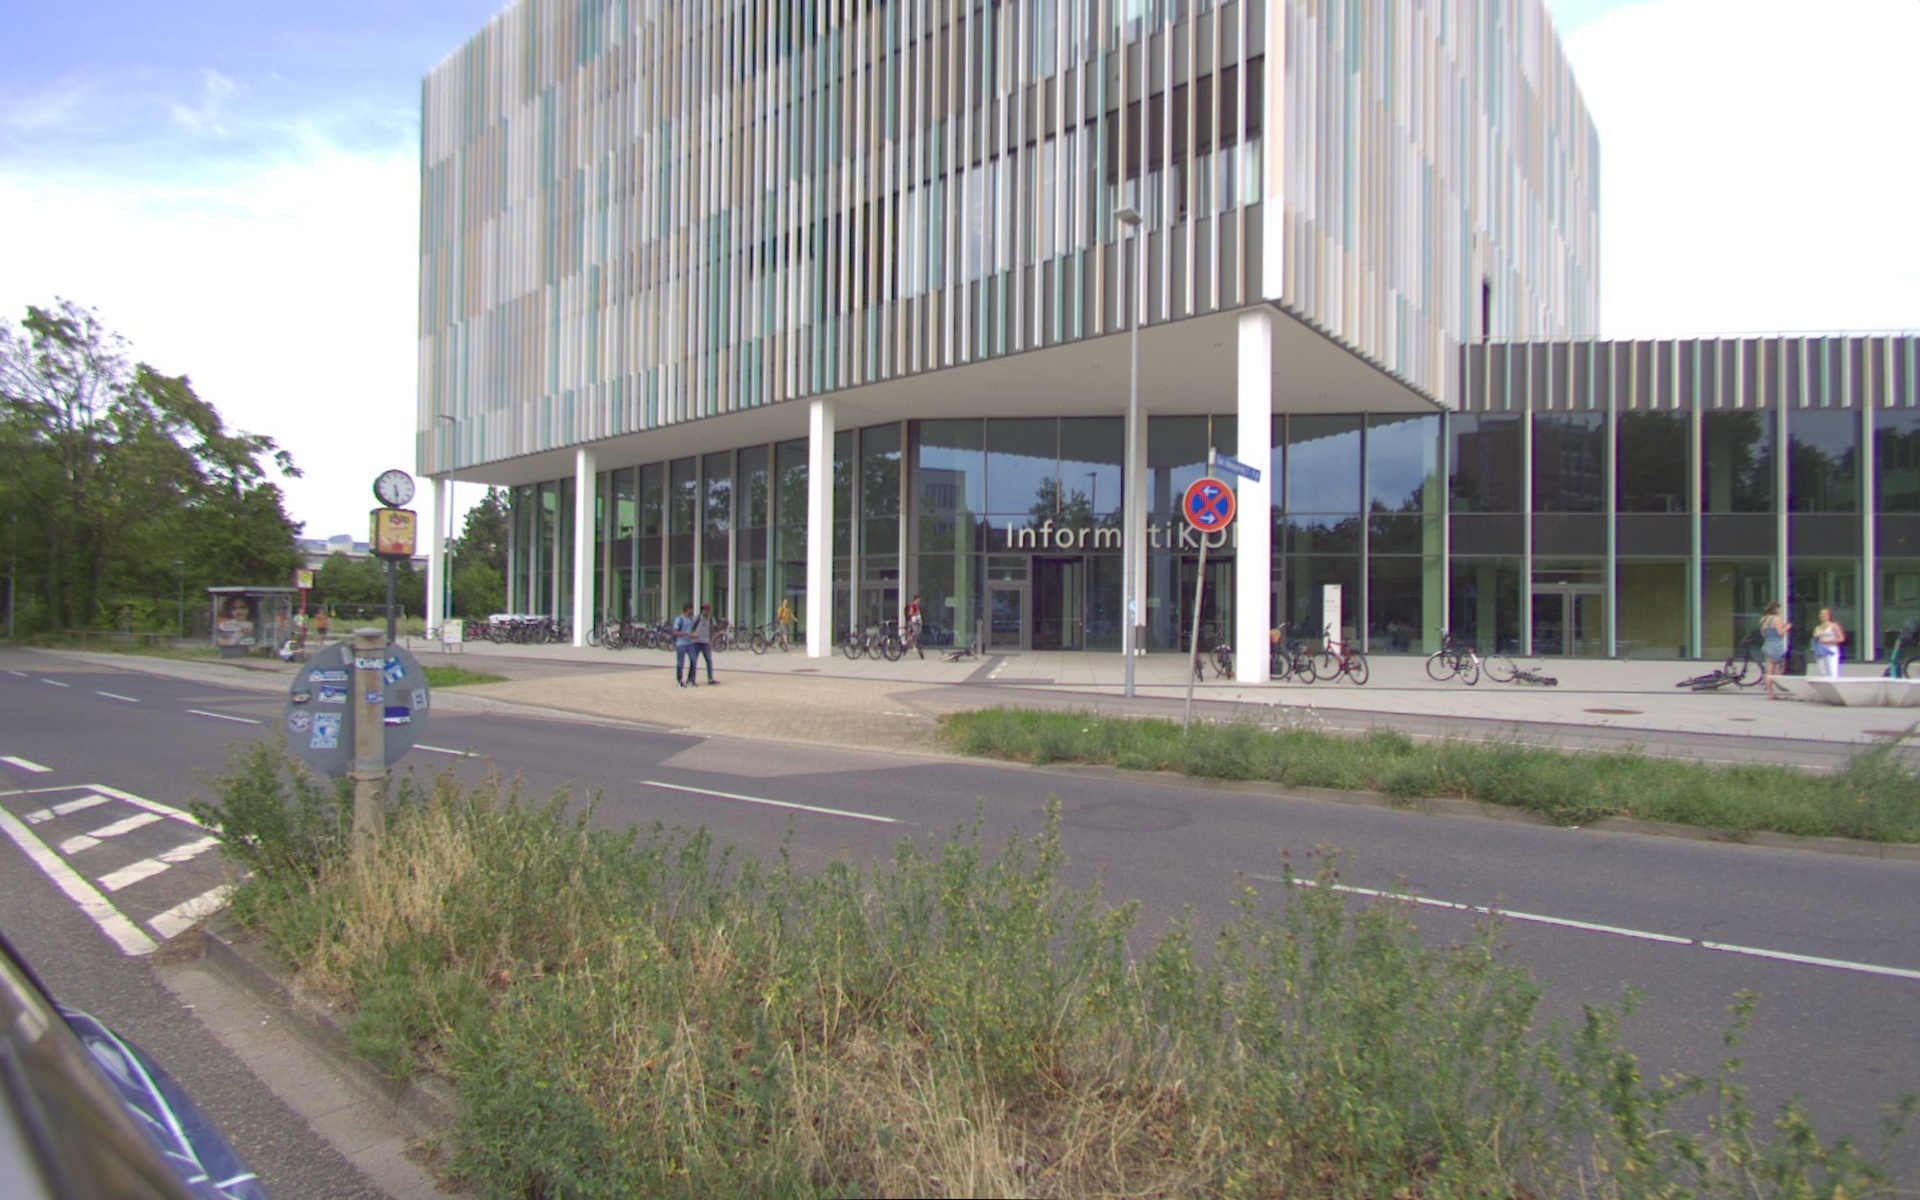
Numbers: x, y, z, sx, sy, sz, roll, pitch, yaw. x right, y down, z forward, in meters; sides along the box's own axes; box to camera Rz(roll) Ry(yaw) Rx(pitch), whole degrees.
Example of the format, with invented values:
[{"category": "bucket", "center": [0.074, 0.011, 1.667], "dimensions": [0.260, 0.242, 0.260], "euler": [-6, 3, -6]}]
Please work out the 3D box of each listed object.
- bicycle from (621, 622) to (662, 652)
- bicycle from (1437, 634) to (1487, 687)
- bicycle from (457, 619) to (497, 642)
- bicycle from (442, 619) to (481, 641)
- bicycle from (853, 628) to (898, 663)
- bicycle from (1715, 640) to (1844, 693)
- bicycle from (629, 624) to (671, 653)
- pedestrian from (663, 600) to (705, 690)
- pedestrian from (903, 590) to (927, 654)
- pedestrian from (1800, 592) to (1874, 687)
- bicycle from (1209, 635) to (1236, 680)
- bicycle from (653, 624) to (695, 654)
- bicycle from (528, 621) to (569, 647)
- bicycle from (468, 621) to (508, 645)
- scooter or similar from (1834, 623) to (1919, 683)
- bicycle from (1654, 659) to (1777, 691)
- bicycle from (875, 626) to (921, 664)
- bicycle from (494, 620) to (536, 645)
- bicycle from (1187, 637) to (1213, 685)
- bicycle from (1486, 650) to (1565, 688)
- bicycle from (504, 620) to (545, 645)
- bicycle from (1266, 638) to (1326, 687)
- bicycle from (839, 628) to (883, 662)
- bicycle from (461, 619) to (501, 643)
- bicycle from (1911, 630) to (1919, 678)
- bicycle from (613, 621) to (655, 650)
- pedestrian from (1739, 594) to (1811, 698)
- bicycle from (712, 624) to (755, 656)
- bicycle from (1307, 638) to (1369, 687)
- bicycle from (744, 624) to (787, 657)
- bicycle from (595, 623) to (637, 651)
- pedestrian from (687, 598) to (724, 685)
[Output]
[{"category": "bicycle", "center": [-11.985, 1.383, 38.102], "dimensions": [0.389, 1.031, 1.563], "euler": [-1, 0, 36]}, {"category": "bicycle", "center": [10.773, 1.282, 21.768], "dimensions": [0.389, 1.037, 1.545], "euler": [-1, 0, 4]}, {"category": "bicycle", "center": [-22.960, 1.439, 48.121], "dimensions": [0.434, 1.031, 1.683], "euler": [-1, 0, 36]}, {"category": "bicycle", "center": [-24.131, 1.443, 49.030], "dimensions": [0.434, 1.031, 1.683], "euler": [-1, 0, 36]}, {"category": "bicycle", "center": [-2.461, 1.306, 29.500], "dimensions": [0.393, 0.944, 1.528], "euler": [-1, 0, 36]}, {"category": "bicycle", "center": [16.759, 1.332, 20.776], "dimensions": [0.614, 0.992, 2.253], "euler": [0, -1, -6]}, {"category": "bicycle", "center": [-11.554, 1.426, 37.724], "dimensions": [0.389, 1.031, 1.563], "euler": [-1, 0, 36]}, {"category": "pedestrian", "center": [-5.810, 0.949, 21.303], "dimensions": [0.772, 1.851, 0.505], "euler": [-2, -2, 41]}, {"category": "pedestrian", "center": [-1.468, 0.723, 32.958], "dimensions": [0.505, 2.059, 0.625], "euler": [1, -3, -44]}, {"category": "pedestrian", "center": [15.184, 0.669, 17.533], "dimensions": [0.671, 1.612, 0.728], "euler": [0, -1, 10]}, {"category": "bicycle", "center": [6.049, 1.310, 23.376], "dimensions": [0.389, 0.944, 1.594], "euler": [-1, 0, 8]}, {"category": "bicycle", "center": [-10.336, 1.403, 36.612], "dimensions": [0.389, 1.031, 1.563], "euler": [-1, 0, 36]}, {"category": "bicycle", "center": [-17.688, 1.445, 43.518], "dimensions": [0.389, 1.031, 1.683], "euler": [-1, 0, 36]}, {"category": "bicycle", "center": [-21.660, 1.518, 46.453], "dimensions": [0.434, 1.031, 1.683], "euler": [-1, 0, 36]}, {"category": "scooter or similar", "center": [19.722, 1.101, 21.590], "dimensions": [0.589, 1.207, 2.119], "euler": [0, -1, 9]}, {"category": "bicycle", "center": [15.290, 1.509, 20.572], "dimensions": [0.614, 0.526, 2.253], "euler": [0, -1, -6]}, {"category": "bicycle", "center": [-1.765, 1.275, 28.918], "dimensions": [0.399, 1.002, 1.527], "euler": [-1, 0, 37]}, {"category": "bicycle", "center": [-19.748, 1.430, 44.944], "dimensions": [0.434, 1.031, 1.683], "euler": [-1, 0, 36]}, {"category": "bicycle", "center": [5.309, 1.338, 22.446], "dimensions": [0.389, 0.944, 1.607], "euler": [-1, 0, 8]}, {"category": "bicycle", "center": [12.187, 1.466, 21.872], "dimensions": [0.387, 0.678, 1.800], "euler": [-1, 0, -12]}, {"category": "bicycle", "center": [-19.095, 1.409, 44.398], "dimensions": [0.434, 1.031, 1.683], "euler": [-1, 0, 36]}, {"category": "bicycle", "center": [7.292, 1.344, 22.021], "dimensions": [0.387, 0.944, 1.603], "euler": [-1, 0, -16]}, {"category": "bicycle", "center": [-2.923, 1.321, 30.058], "dimensions": [0.389, 0.944, 1.528], "euler": [-1, 0, 36]}, {"category": "bicycle", "center": [-22.410, 1.437, 47.414], "dimensions": [0.434, 1.031, 1.683], "euler": [-1, 0, 36]}, {"category": "bicycle", "center": [20.427, 1.136, 20.678], "dimensions": [0.669, 1.007, 2.659], "euler": [0, -1, 26]}, {"category": "bicycle", "center": [-12.390, 1.349, 38.508], "dimensions": [0.389, 1.031, 1.563], "euler": [-1, 0, 36]}, {"category": "pedestrian", "center": [14.174, 0.789, 17.616], "dimensions": [0.670, 1.753, 0.729], "euler": [0, -1, 7]}, {"category": "bicycle", "center": [-7.806, 1.364, 34.910], "dimensions": [0.389, 1.031, 1.563], "euler": [-1, 0, 36]}, {"category": "bicycle", "center": [8.231, 1.341, 22.093], "dimensions": [0.387, 0.944, 1.603], "euler": [-1, 0, -16]}, {"category": "bicycle", "center": [-6.399, 1.327, 33.363], "dimensions": [0.389, 1.031, 1.563], "euler": [-1, 0, 36]}, {"category": "bicycle", "center": [-13.312, 1.426, 39.191], "dimensions": [0.389, 1.031, 1.563], "euler": [-1, 0, 36]}, {"category": "pedestrian", "center": [-5.508, 0.891, 21.884], "dimensions": [0.624, 1.851, 0.505], "euler": [-2, -2, 41]}]
